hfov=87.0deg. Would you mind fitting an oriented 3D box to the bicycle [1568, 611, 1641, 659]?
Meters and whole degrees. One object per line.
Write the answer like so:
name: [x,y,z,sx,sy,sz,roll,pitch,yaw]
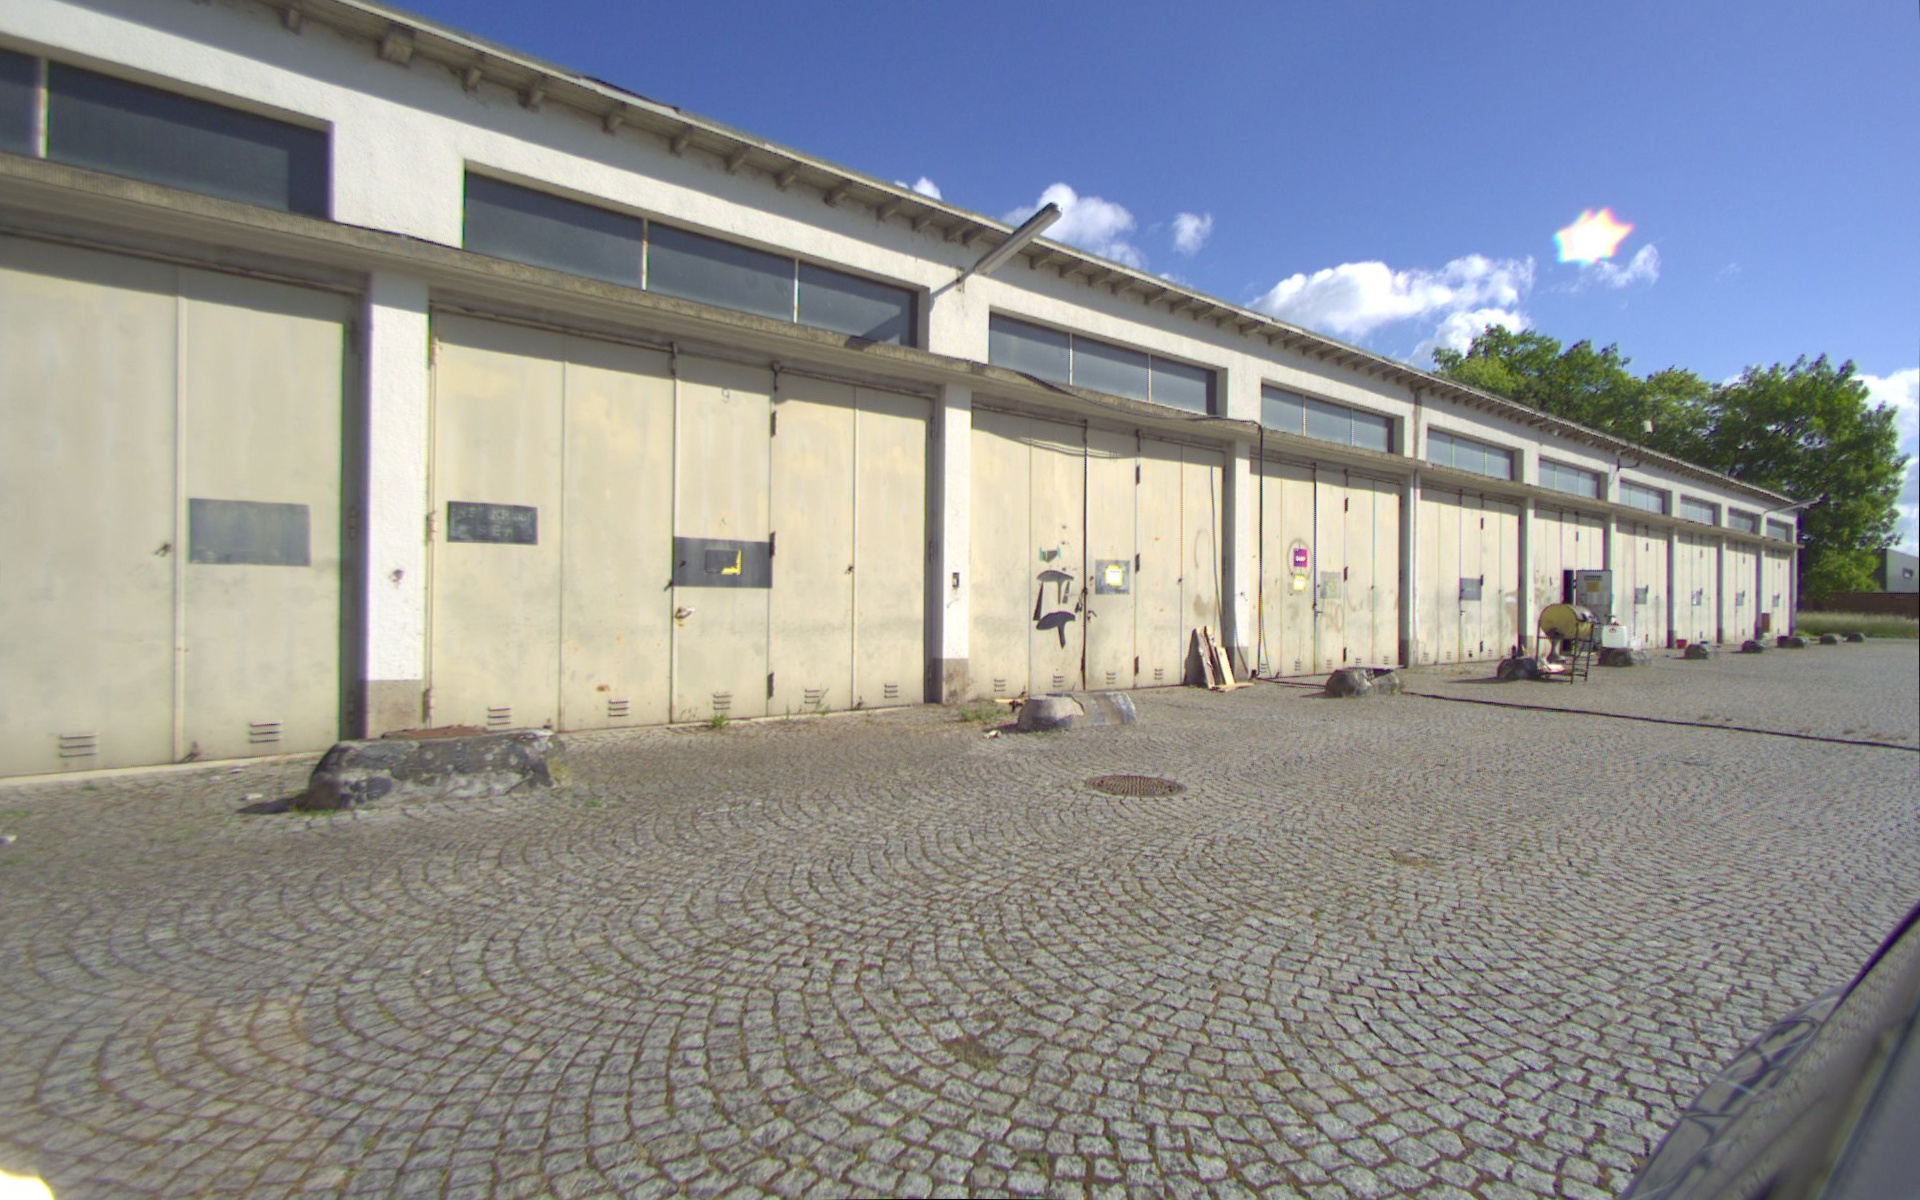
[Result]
bicycle: [15.387,0.823,24.141,1.787,1.082,0.667,0,-1,-29]
